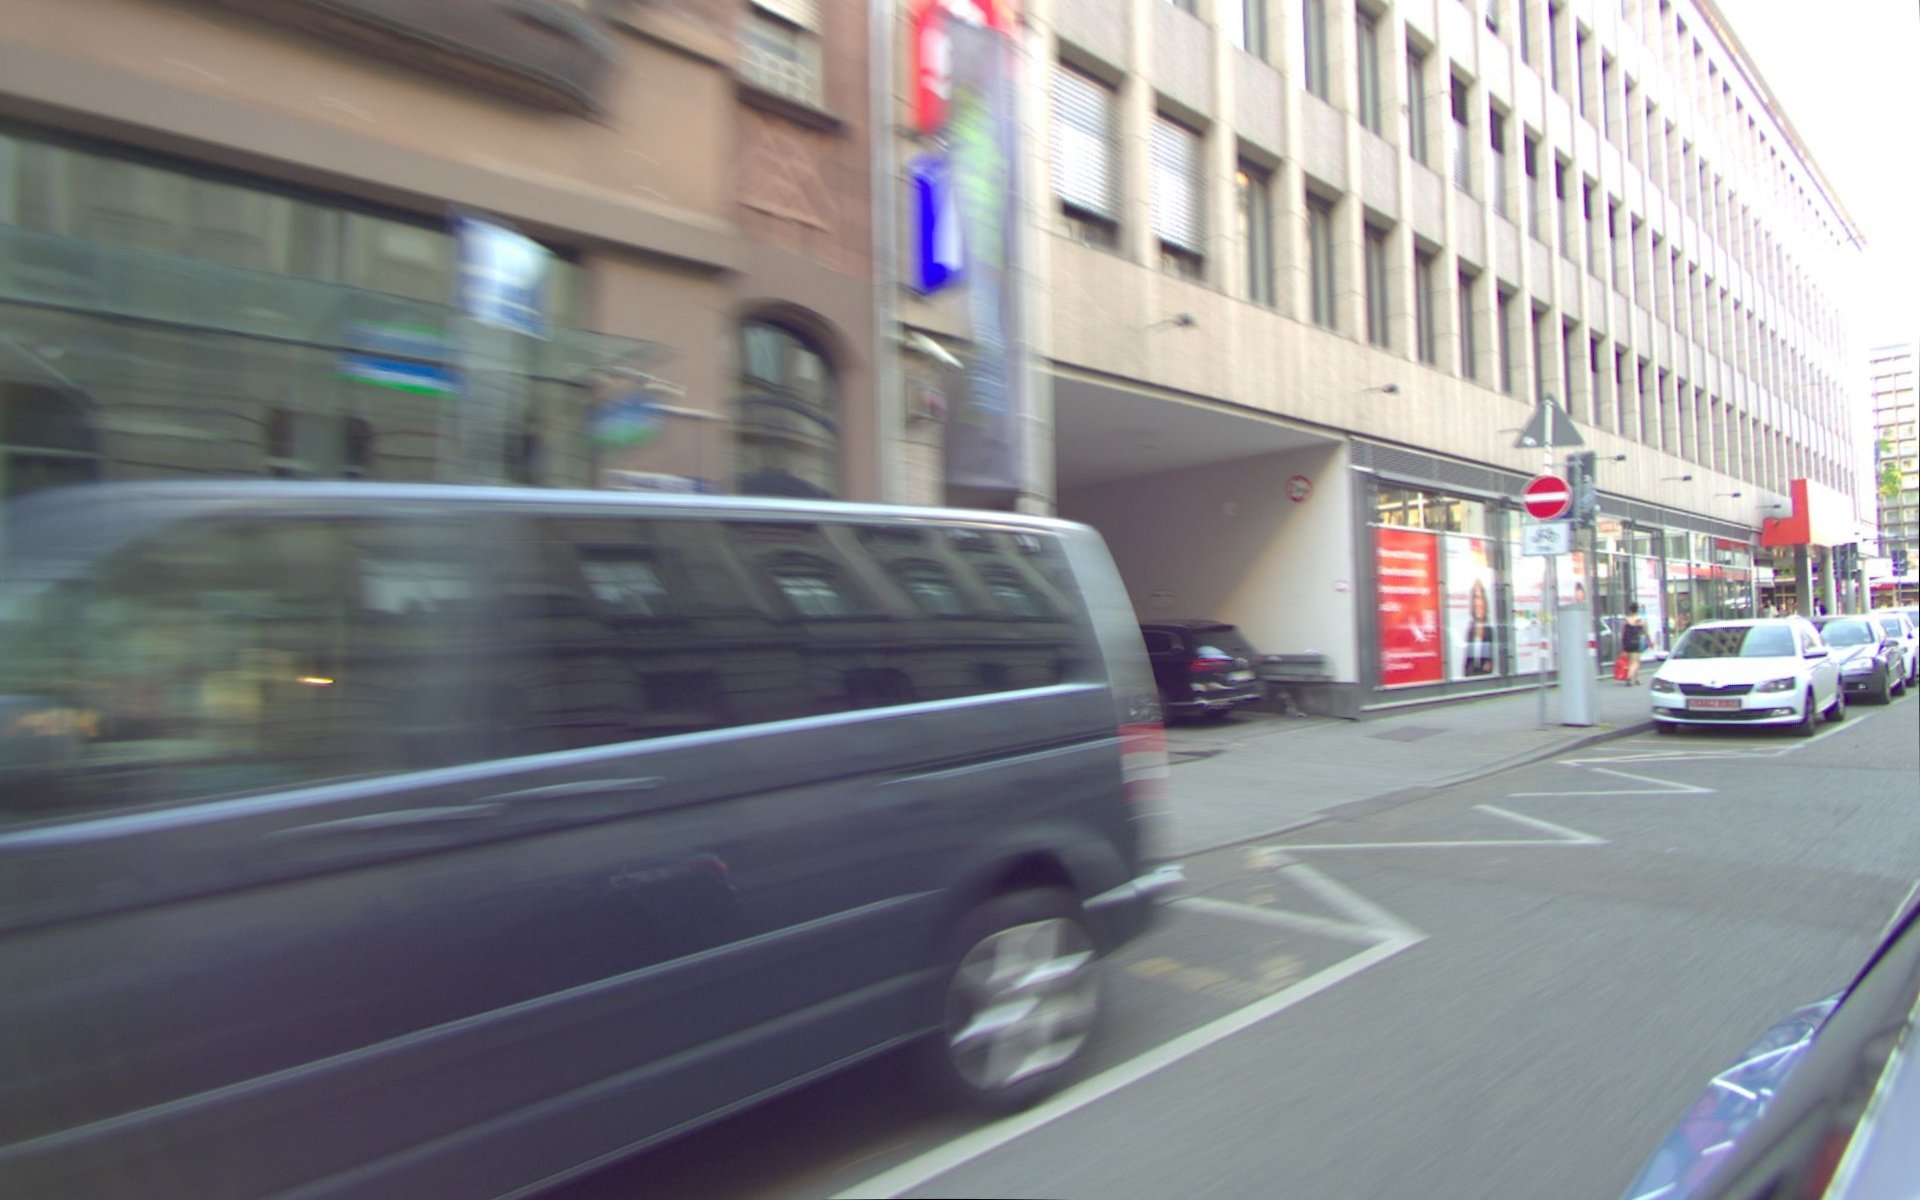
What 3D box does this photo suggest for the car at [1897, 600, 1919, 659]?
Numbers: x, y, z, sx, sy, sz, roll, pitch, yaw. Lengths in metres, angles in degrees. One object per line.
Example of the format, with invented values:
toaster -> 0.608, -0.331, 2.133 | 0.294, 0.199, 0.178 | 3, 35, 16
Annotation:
car -> 28.406, 0.806, 28.936 | 4.630, 1.619, 1.742 | 1, -4, -40

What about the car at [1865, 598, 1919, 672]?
car -> 23.728, 0.789, 24.807 | 4.732, 1.687, 1.777 | 0, -3, -43

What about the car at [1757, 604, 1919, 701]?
car -> 15.517, 0.866, 17.731 | 4.369, 1.466, 1.658 | 0, -3, -42

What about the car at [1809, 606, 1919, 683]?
car -> 19.527, 0.904, 21.432 | 3.800, 1.466, 1.659 | 0, -3, -40

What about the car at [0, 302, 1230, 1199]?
car -> -1.472, 0.584, 2.976 | 4.966, 2.085, 1.849 | 0, -3, -41

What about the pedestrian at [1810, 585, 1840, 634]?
pedestrian -> 34.544, 0.396, 40.413 | 0.675, 1.944, 0.798 | 1, -2, -41

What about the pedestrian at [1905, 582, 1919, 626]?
pedestrian -> 39.325, 0.169, 41.306 | 0.785, 1.784, 0.687 | 0, -2, 1

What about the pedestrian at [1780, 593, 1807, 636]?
pedestrian -> 34.615, 0.604, 42.031 | 0.796, 1.784, 0.677 | -2, -2, 40

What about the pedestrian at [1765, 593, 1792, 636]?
pedestrian -> 33.693, 0.604, 41.671 | 0.797, 1.784, 0.677 | -2, -2, 42

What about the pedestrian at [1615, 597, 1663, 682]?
pedestrian -> 13.467, 0.768, 20.067 | 0.639, 1.656, 0.649 | 1, -1, -41

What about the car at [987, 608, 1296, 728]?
car -> 2.613, 0.986, 15.453 | 1.884, 1.520, 4.407 | -1, -2, -41

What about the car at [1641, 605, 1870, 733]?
car -> 11.039, 0.864, 13.939 | 4.233, 1.466, 1.659 | 0, -3, -41
